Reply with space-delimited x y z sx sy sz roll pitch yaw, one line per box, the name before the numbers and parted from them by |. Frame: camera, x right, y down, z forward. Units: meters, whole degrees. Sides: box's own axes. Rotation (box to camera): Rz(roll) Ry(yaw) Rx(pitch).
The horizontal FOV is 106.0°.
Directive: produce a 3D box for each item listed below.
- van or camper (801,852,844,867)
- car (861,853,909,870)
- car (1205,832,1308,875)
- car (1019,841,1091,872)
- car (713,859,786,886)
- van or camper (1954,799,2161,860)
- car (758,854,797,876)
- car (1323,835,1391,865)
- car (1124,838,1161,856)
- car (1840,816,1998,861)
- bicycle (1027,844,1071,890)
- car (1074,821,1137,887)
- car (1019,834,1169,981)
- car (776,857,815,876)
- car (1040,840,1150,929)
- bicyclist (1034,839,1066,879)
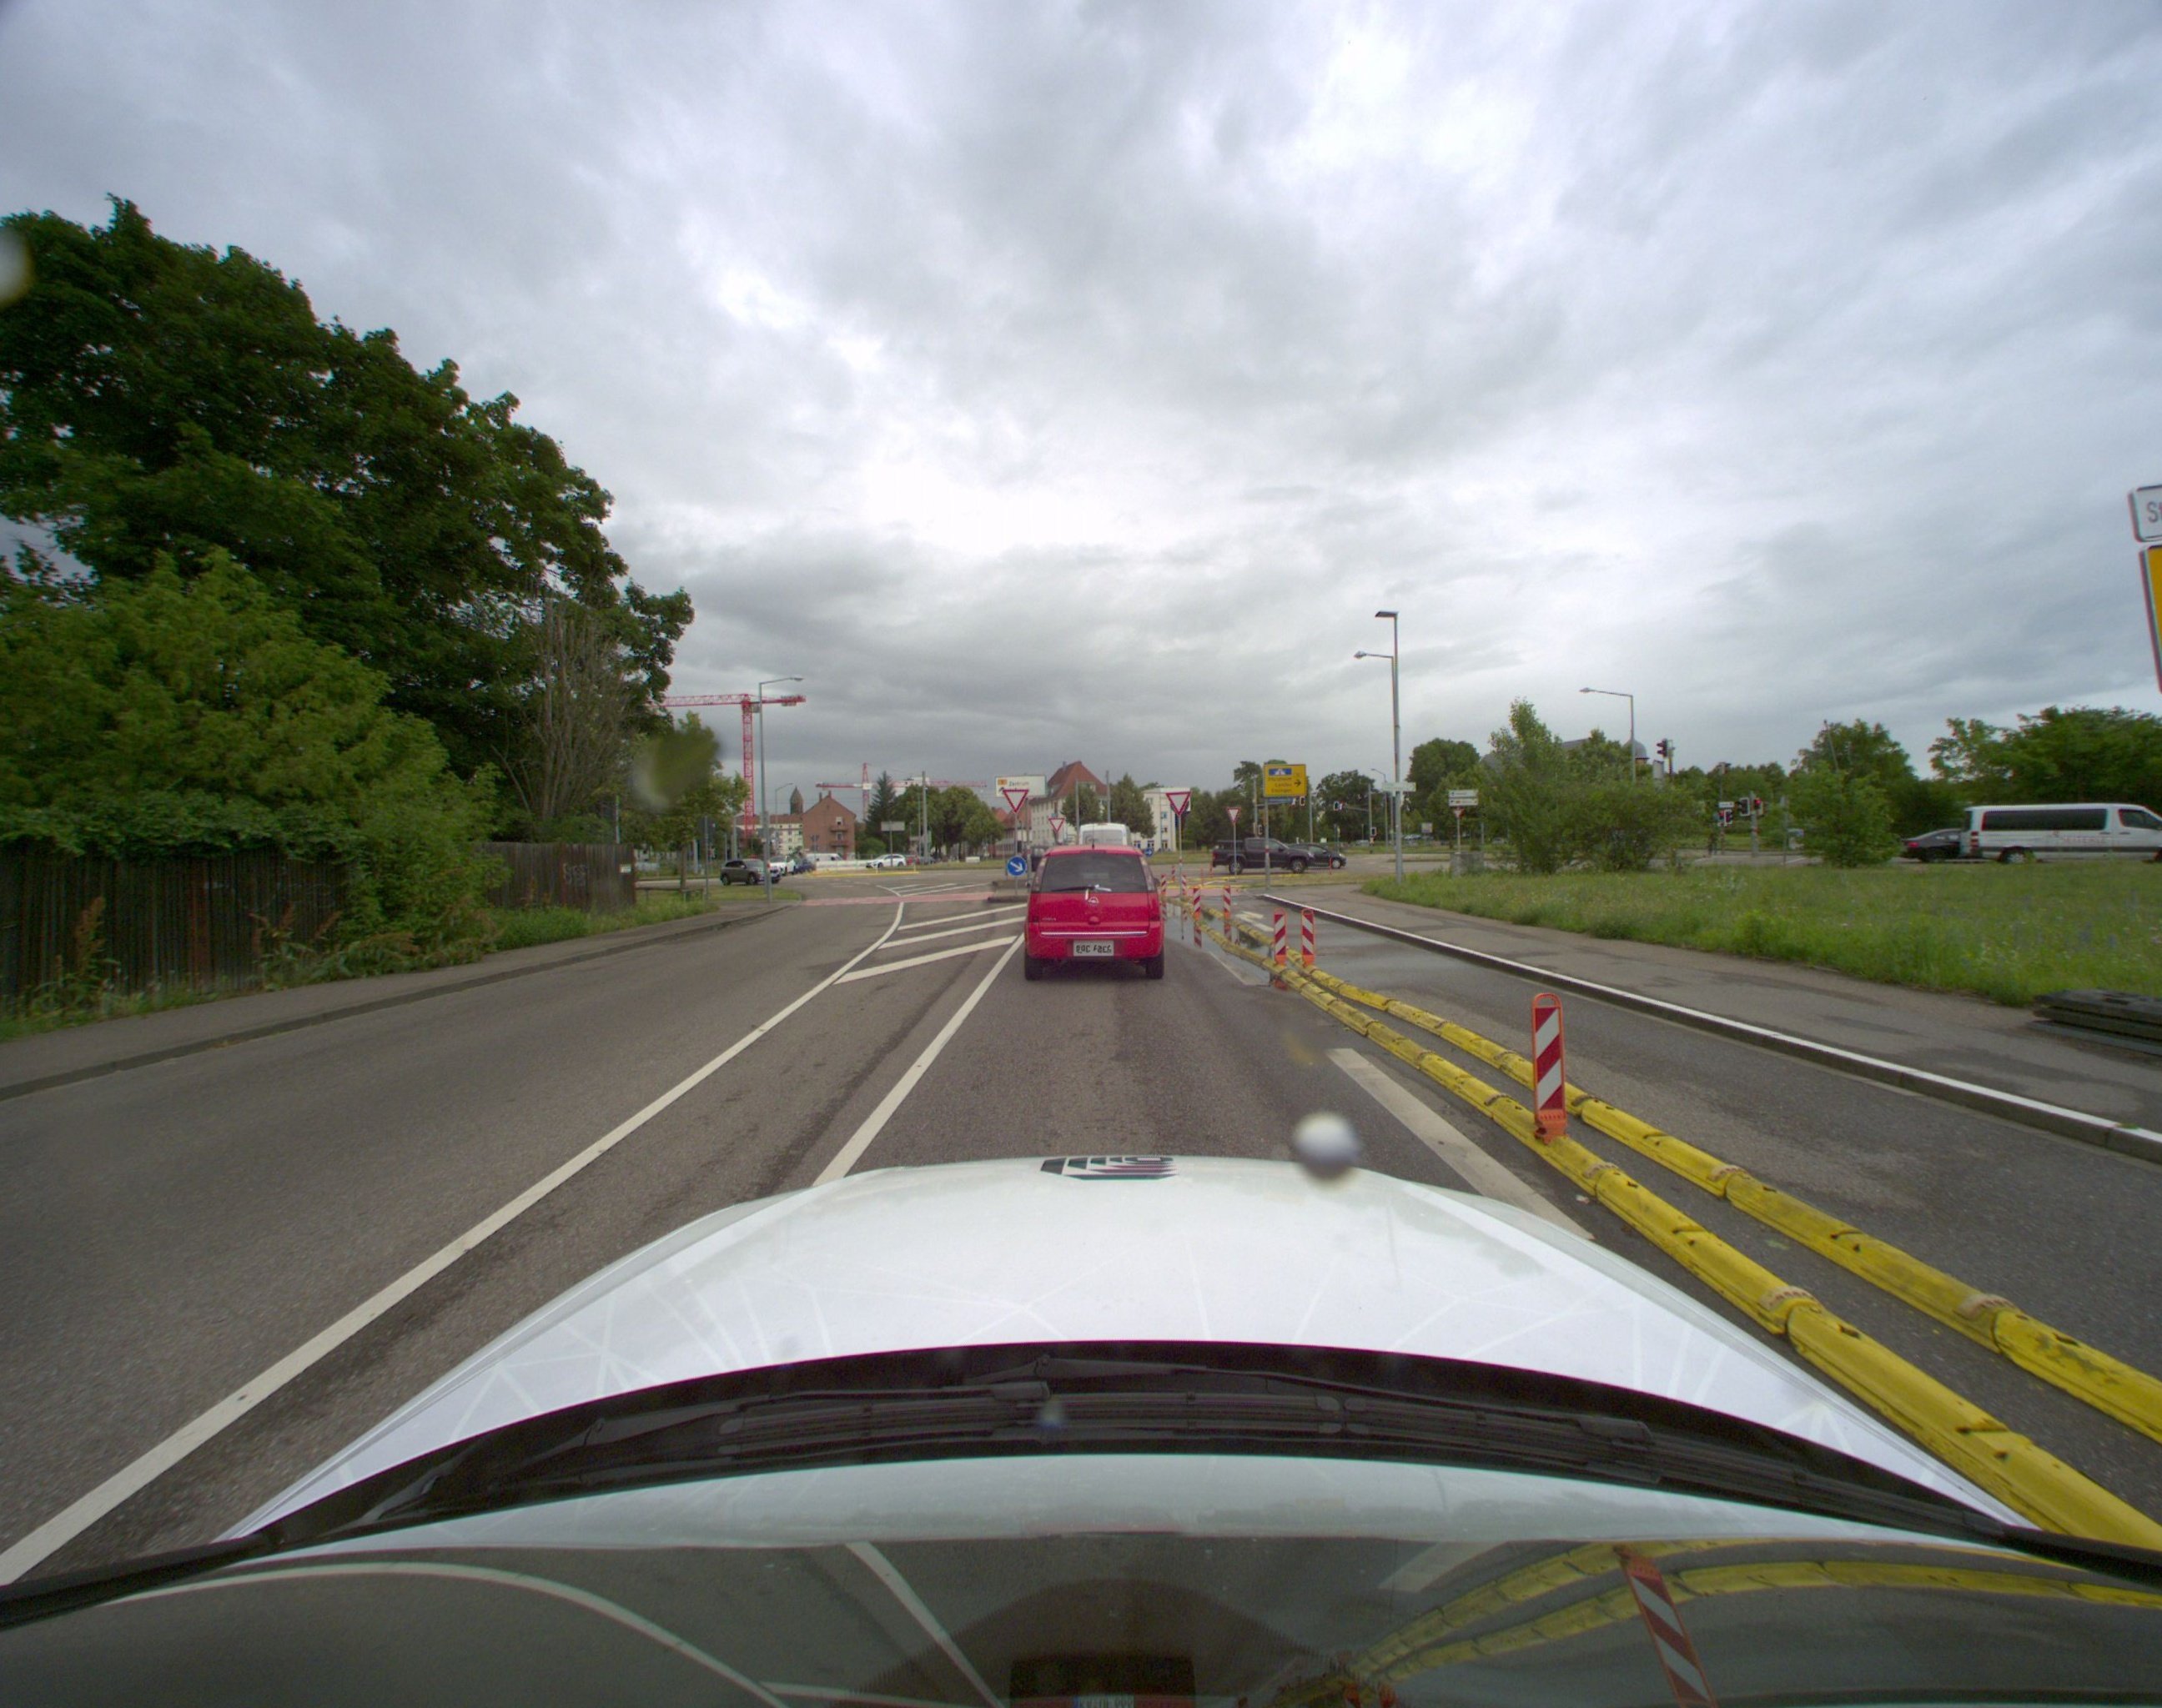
van or camper | -40.575 0.861 127.687 6.136 2.013 2.007 -2 0 11
car | -20.749 0.781 86.373 1.974 1.635 4.705 -2 0 39
car | 9.040 -0.032 41.911 4.988 1.972 2.233 -2 0 15
car | -1.615 0.166 52.063 4.167 1.813 2.085 -2 0 11
car | -20.941 1.177 51.337 4.473 1.583 2.013 -2 0 33
van or camper | 36.674 -0.885 30.025 5.818 2.013 2.013 -2 0 37
car | -24.948 0.887 67.078 1.929 1.684 4.180 -2 0 -6
car | 17.725 -0.253 52.217 3.952 1.849 2.011 -1 -1 23
car | 7.554 -0.894 100.029 4.443 2.013 2.004 -2 0 6
car | 35.715 -0.636 34.883 4.318 1.750 2.013 -2 0 31
bicycle | -1.166 0.471 29.559 1.470 1.612 0.607 -2 0 5
car | 1.117 -0.008 34.288 2.183 2.540 4.972 -1 0 7
car | 0.185 0.587 10.953 1.667 1.640 3.628 -1 0 1
car | -25.668 1.097 73.342 1.924 1.489 4.002 -2 0 2
car | 0.315 0.553 17.533 2.052 1.648 4.608 -1 0 1
bicyclist | -1.115 0.178 29.542 1.056 1.401 0.616 -2 0 5
